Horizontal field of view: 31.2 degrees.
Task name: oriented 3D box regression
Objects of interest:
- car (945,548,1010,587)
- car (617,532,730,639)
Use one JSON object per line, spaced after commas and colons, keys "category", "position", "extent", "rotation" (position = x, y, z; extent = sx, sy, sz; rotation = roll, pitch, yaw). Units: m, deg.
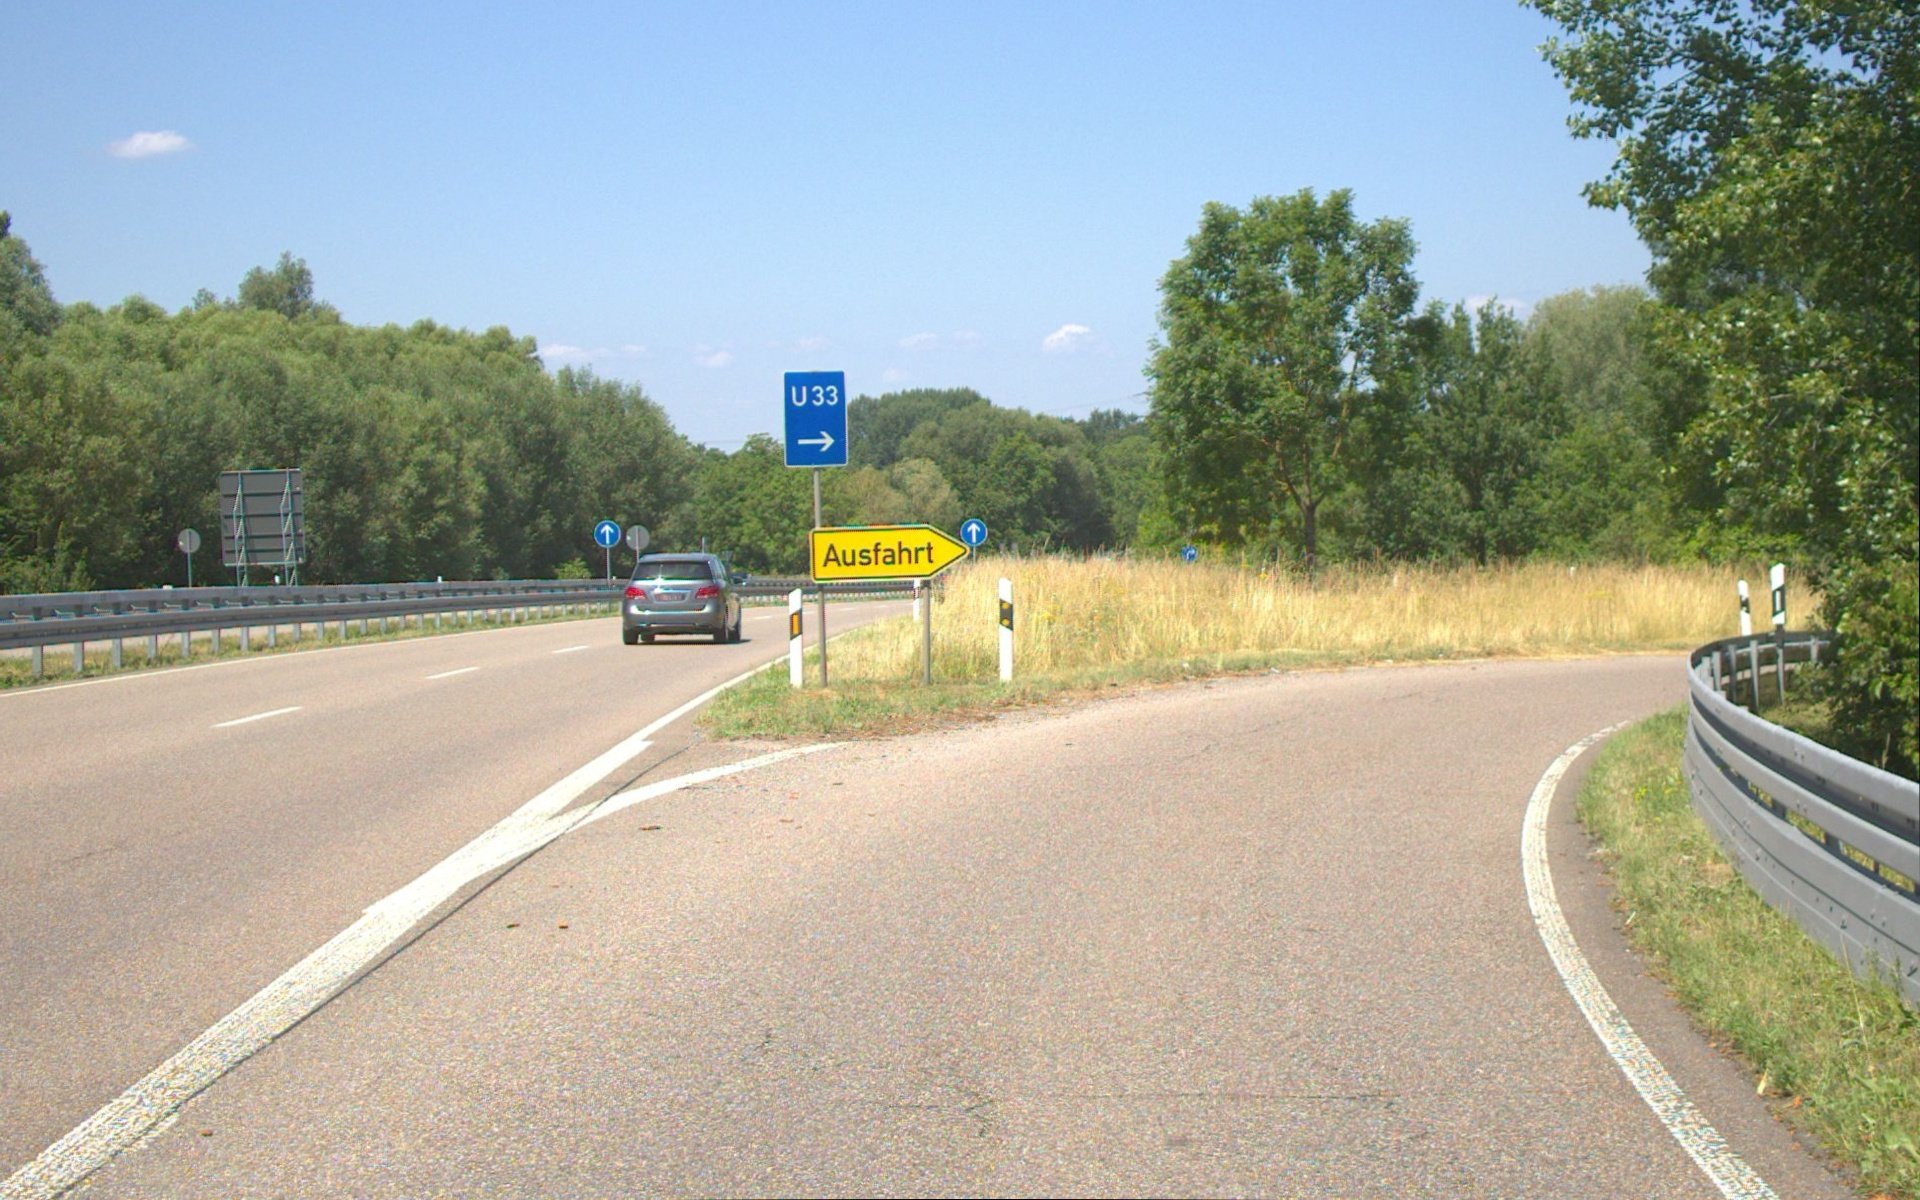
{"category": "car", "position": [0.734, -1.357, 141.020], "extent": [1.842, 1.524, 4.468], "rotation": [1, 1, 11]}
{"category": "car", "position": [-4.968, -0.289, 60.063], "extent": [1.793, 1.662, 4.555], "rotation": [1, 2, -3]}
